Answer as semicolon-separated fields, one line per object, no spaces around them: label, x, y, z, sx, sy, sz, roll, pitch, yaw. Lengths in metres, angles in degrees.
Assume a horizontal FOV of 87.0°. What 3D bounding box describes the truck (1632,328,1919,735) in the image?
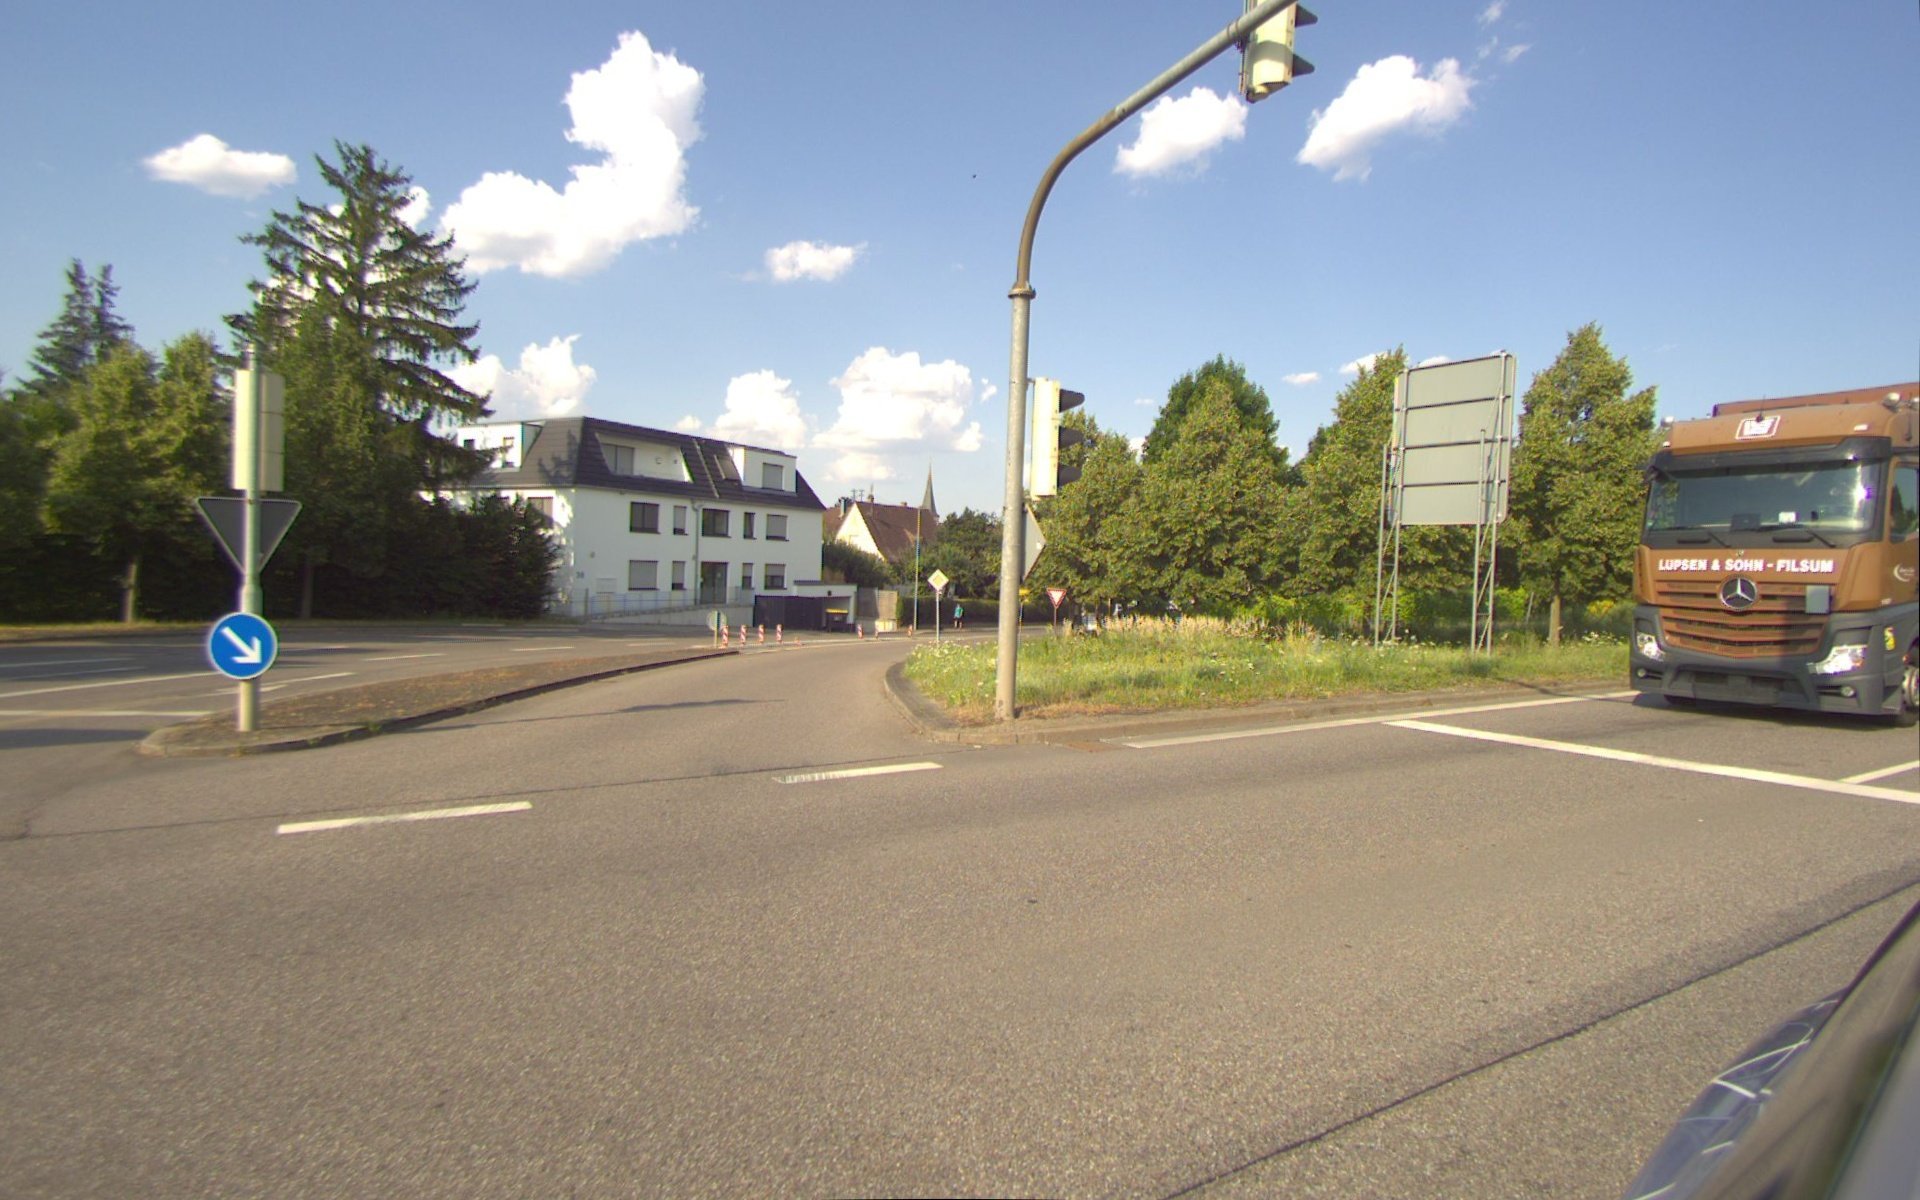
truck;11.654;-0.745;12.950;6.530;4.094;2.542;-1;1;-31

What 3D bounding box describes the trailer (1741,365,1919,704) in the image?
trailer;17.376;-0.834;16.482;14.052;4.118;2.542;0;0;-32

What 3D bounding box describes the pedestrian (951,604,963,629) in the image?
pedestrian;-0.192;1.162;71.143;0.612;1.750;0.633;0;0;28
